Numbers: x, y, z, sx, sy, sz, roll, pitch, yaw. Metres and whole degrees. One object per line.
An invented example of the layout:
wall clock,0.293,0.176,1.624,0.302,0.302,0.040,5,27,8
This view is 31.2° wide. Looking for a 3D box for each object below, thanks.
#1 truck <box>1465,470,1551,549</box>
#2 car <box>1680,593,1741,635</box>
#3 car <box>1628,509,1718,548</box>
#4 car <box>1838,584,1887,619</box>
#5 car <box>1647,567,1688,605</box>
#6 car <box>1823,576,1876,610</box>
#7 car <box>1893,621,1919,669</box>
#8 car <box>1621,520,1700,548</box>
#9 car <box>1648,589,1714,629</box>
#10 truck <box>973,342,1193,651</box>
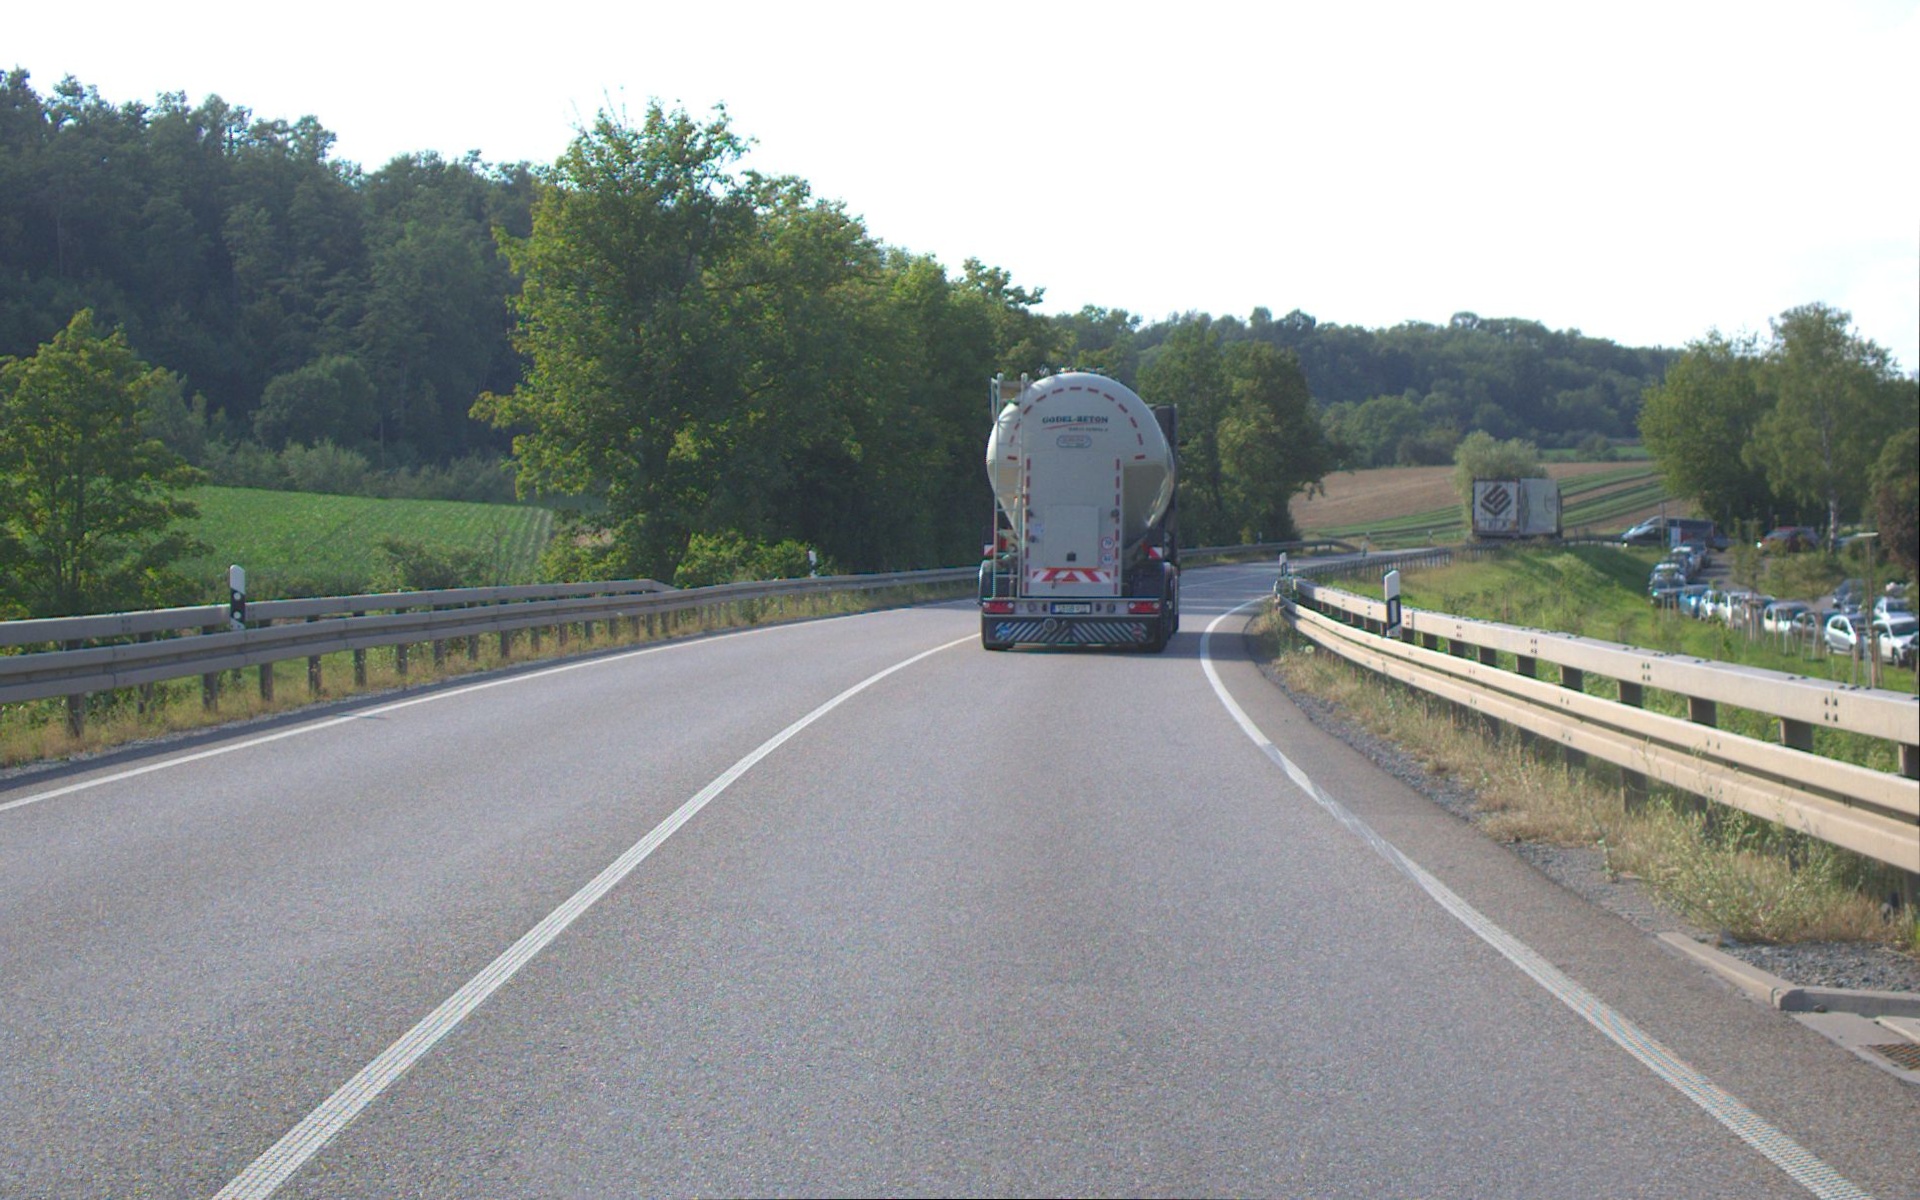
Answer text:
truck,31.216,-5.201,195.267,3.186,4.213,13.163,0,2,16
car,34.339,0.639,157.459,1.892,1.554,4.783,-4,3,3
car,44.490,-4.462,214.581,5.144,1.937,1.973,6,4,17
car,40.787,0.051,155.466,1.702,1.394,4.783,-3,1,10
car,36.069,-0.713,175.220,1.893,1.554,4.780,-3,3,13
car,42.853,-0.354,165.616,1.703,1.394,4.779,-3,1,23
car,33.648,1.554,117.330,1.891,1.477,4.784,-4,3,-5
car,42.954,-4.057,210.865,4.310,1.395,1.721,3,3,-9
car,34.294,0.425,163.584,1.892,1.554,4.783,-4,3,-2
truck,2.087,-1.469,52.671,2.893,4.128,13.170,1,1,4
